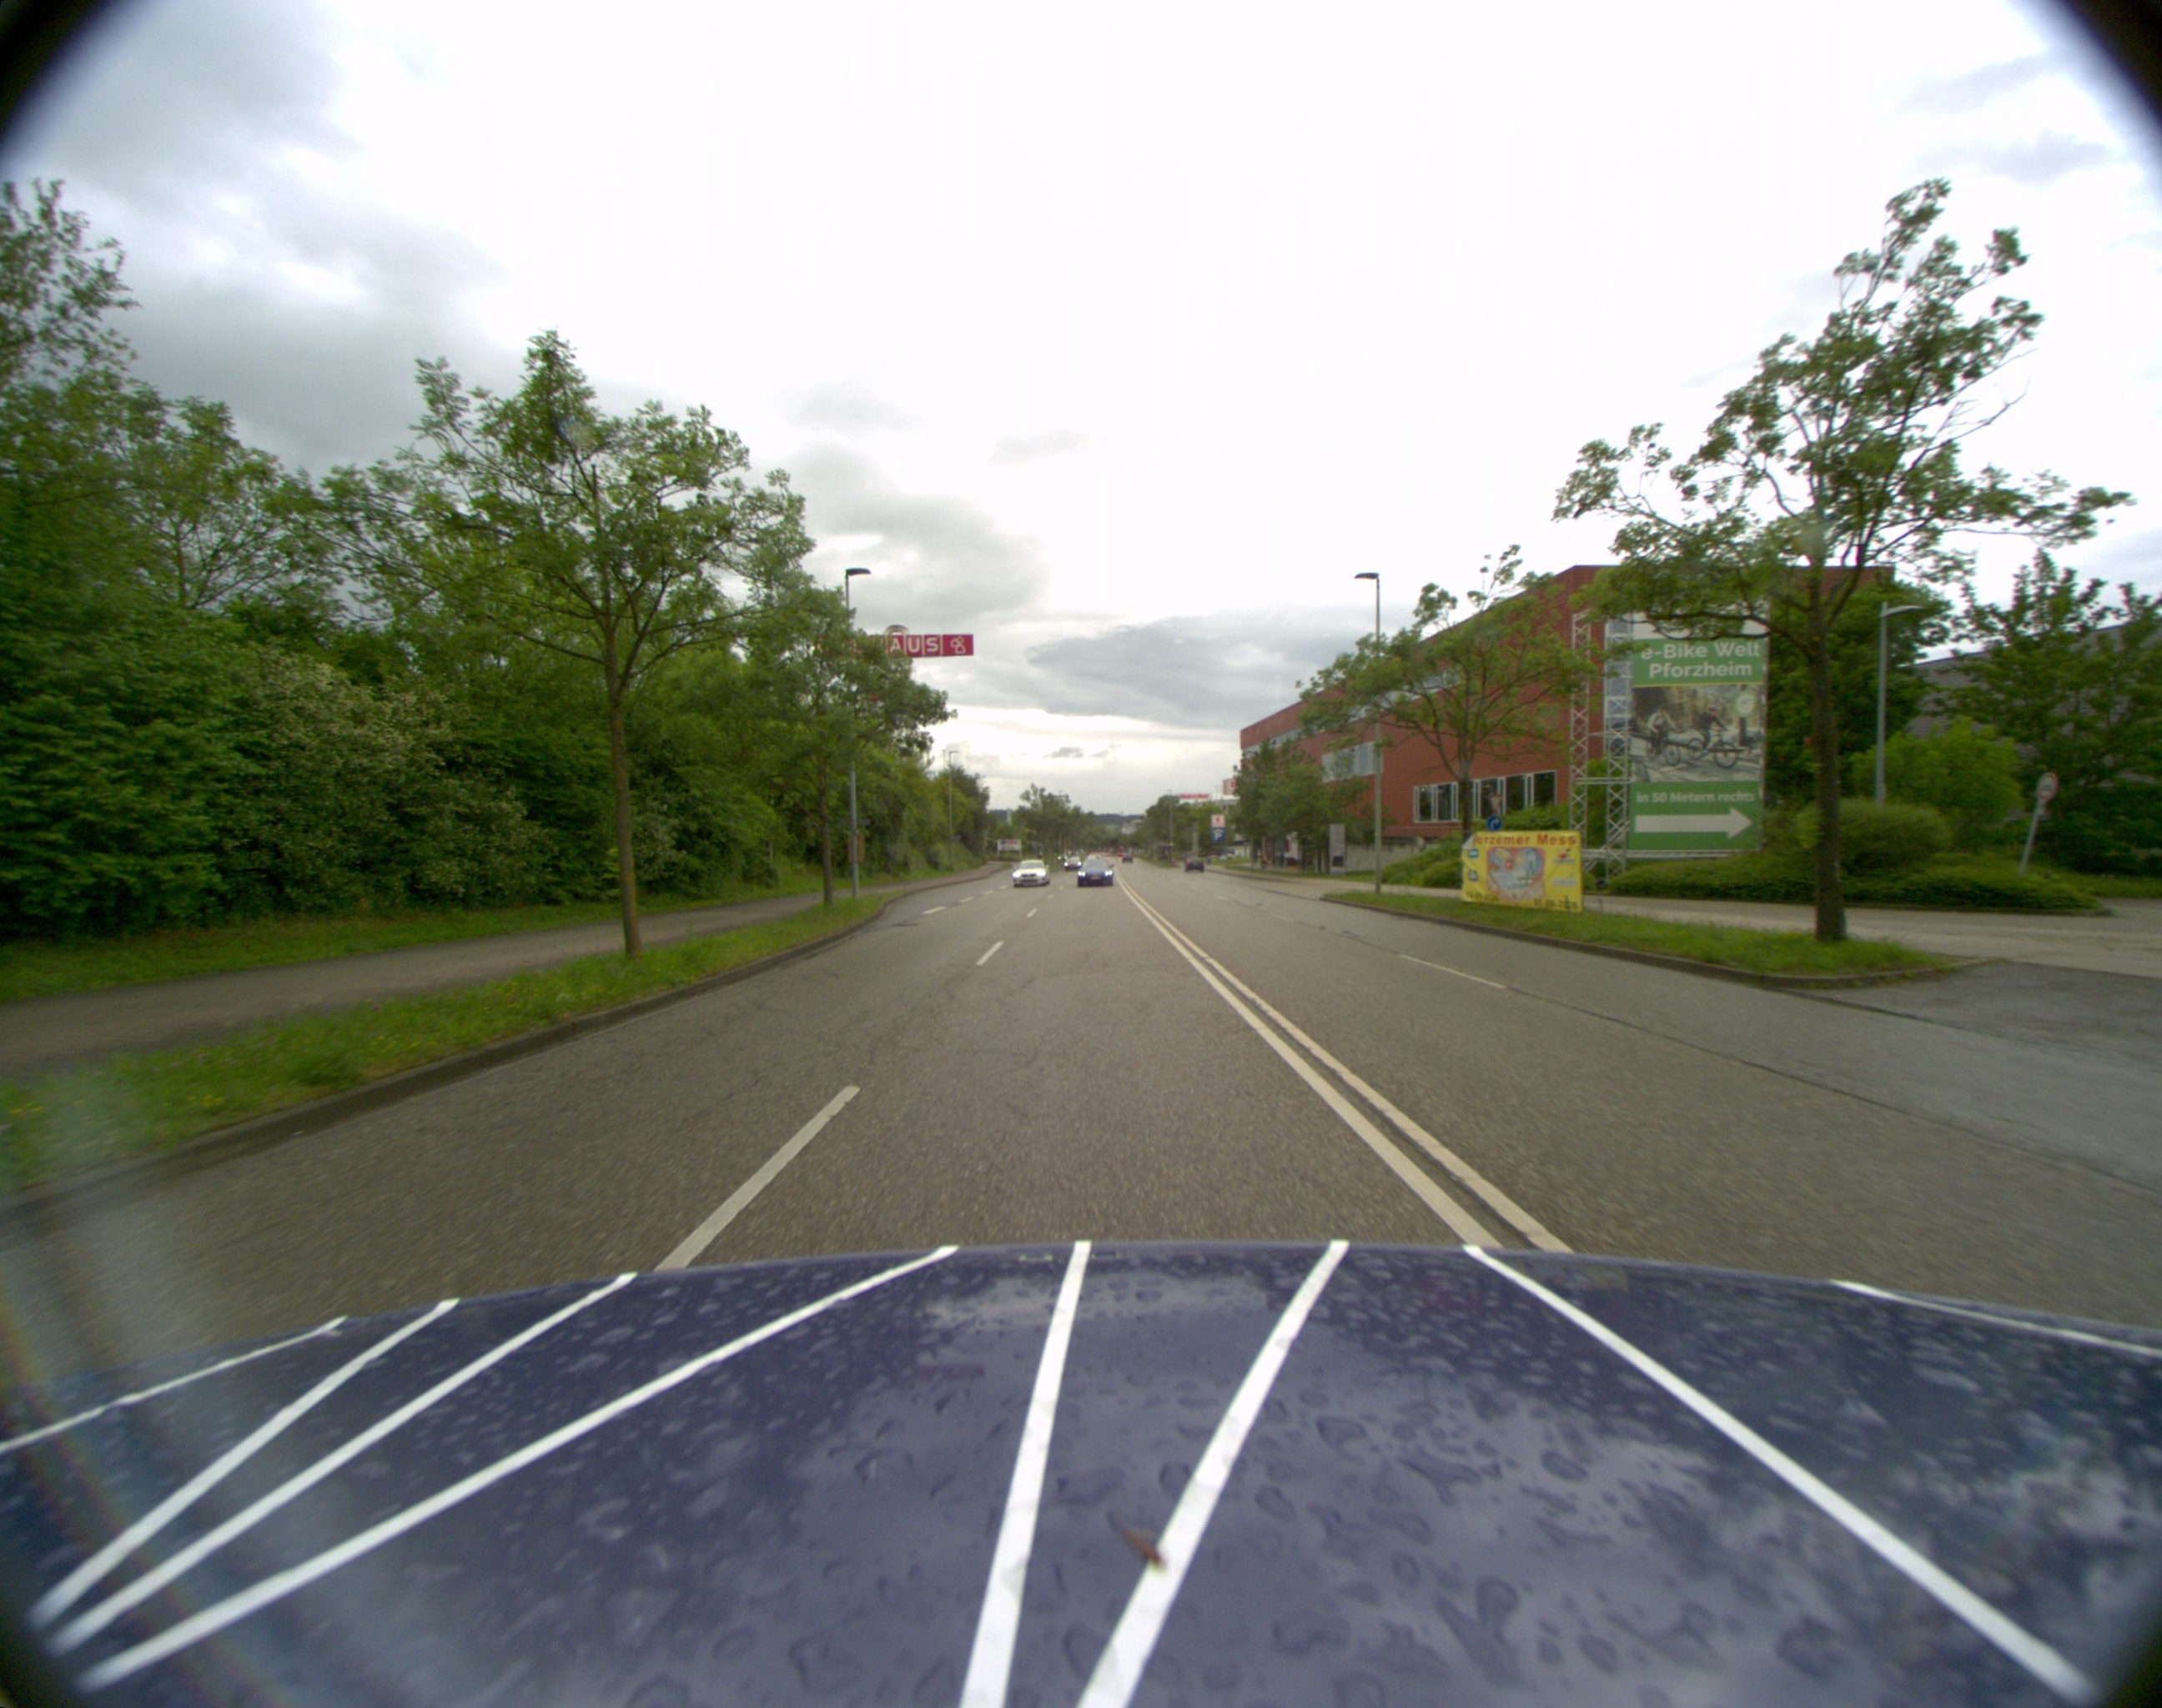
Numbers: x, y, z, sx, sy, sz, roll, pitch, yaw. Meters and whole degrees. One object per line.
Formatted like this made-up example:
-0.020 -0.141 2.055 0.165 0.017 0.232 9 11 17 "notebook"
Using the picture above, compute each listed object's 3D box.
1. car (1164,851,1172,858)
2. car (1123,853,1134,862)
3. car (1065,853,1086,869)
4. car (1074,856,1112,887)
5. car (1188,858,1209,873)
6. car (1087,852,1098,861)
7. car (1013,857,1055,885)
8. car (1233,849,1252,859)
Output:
20.355 0.161 177.351 1.832 1.608 4.002 -2 0 8 "car"
8.428 0.594 134.689 1.863 1.568 4.321 1 0 2 "car"
-0.607 0.765 83.900 2.114 1.610 4.840 -1 0 2 "car"
0.686 0.871 39.642 1.827 1.473 4.840 -2 0 2 "car"
11.726 1.143 75.878 1.740 1.445 4.001 1 0 5 "car"
2.173 0.483 143.850 1.853 1.565 3.998 -2 1 -1 "car"
-2.628 0.927 43.452 1.863 1.473 4.001 -1 0 4 "car"
27.883 -0.004 131.280 1.833 1.608 4.437 0 0 -5 "car"
